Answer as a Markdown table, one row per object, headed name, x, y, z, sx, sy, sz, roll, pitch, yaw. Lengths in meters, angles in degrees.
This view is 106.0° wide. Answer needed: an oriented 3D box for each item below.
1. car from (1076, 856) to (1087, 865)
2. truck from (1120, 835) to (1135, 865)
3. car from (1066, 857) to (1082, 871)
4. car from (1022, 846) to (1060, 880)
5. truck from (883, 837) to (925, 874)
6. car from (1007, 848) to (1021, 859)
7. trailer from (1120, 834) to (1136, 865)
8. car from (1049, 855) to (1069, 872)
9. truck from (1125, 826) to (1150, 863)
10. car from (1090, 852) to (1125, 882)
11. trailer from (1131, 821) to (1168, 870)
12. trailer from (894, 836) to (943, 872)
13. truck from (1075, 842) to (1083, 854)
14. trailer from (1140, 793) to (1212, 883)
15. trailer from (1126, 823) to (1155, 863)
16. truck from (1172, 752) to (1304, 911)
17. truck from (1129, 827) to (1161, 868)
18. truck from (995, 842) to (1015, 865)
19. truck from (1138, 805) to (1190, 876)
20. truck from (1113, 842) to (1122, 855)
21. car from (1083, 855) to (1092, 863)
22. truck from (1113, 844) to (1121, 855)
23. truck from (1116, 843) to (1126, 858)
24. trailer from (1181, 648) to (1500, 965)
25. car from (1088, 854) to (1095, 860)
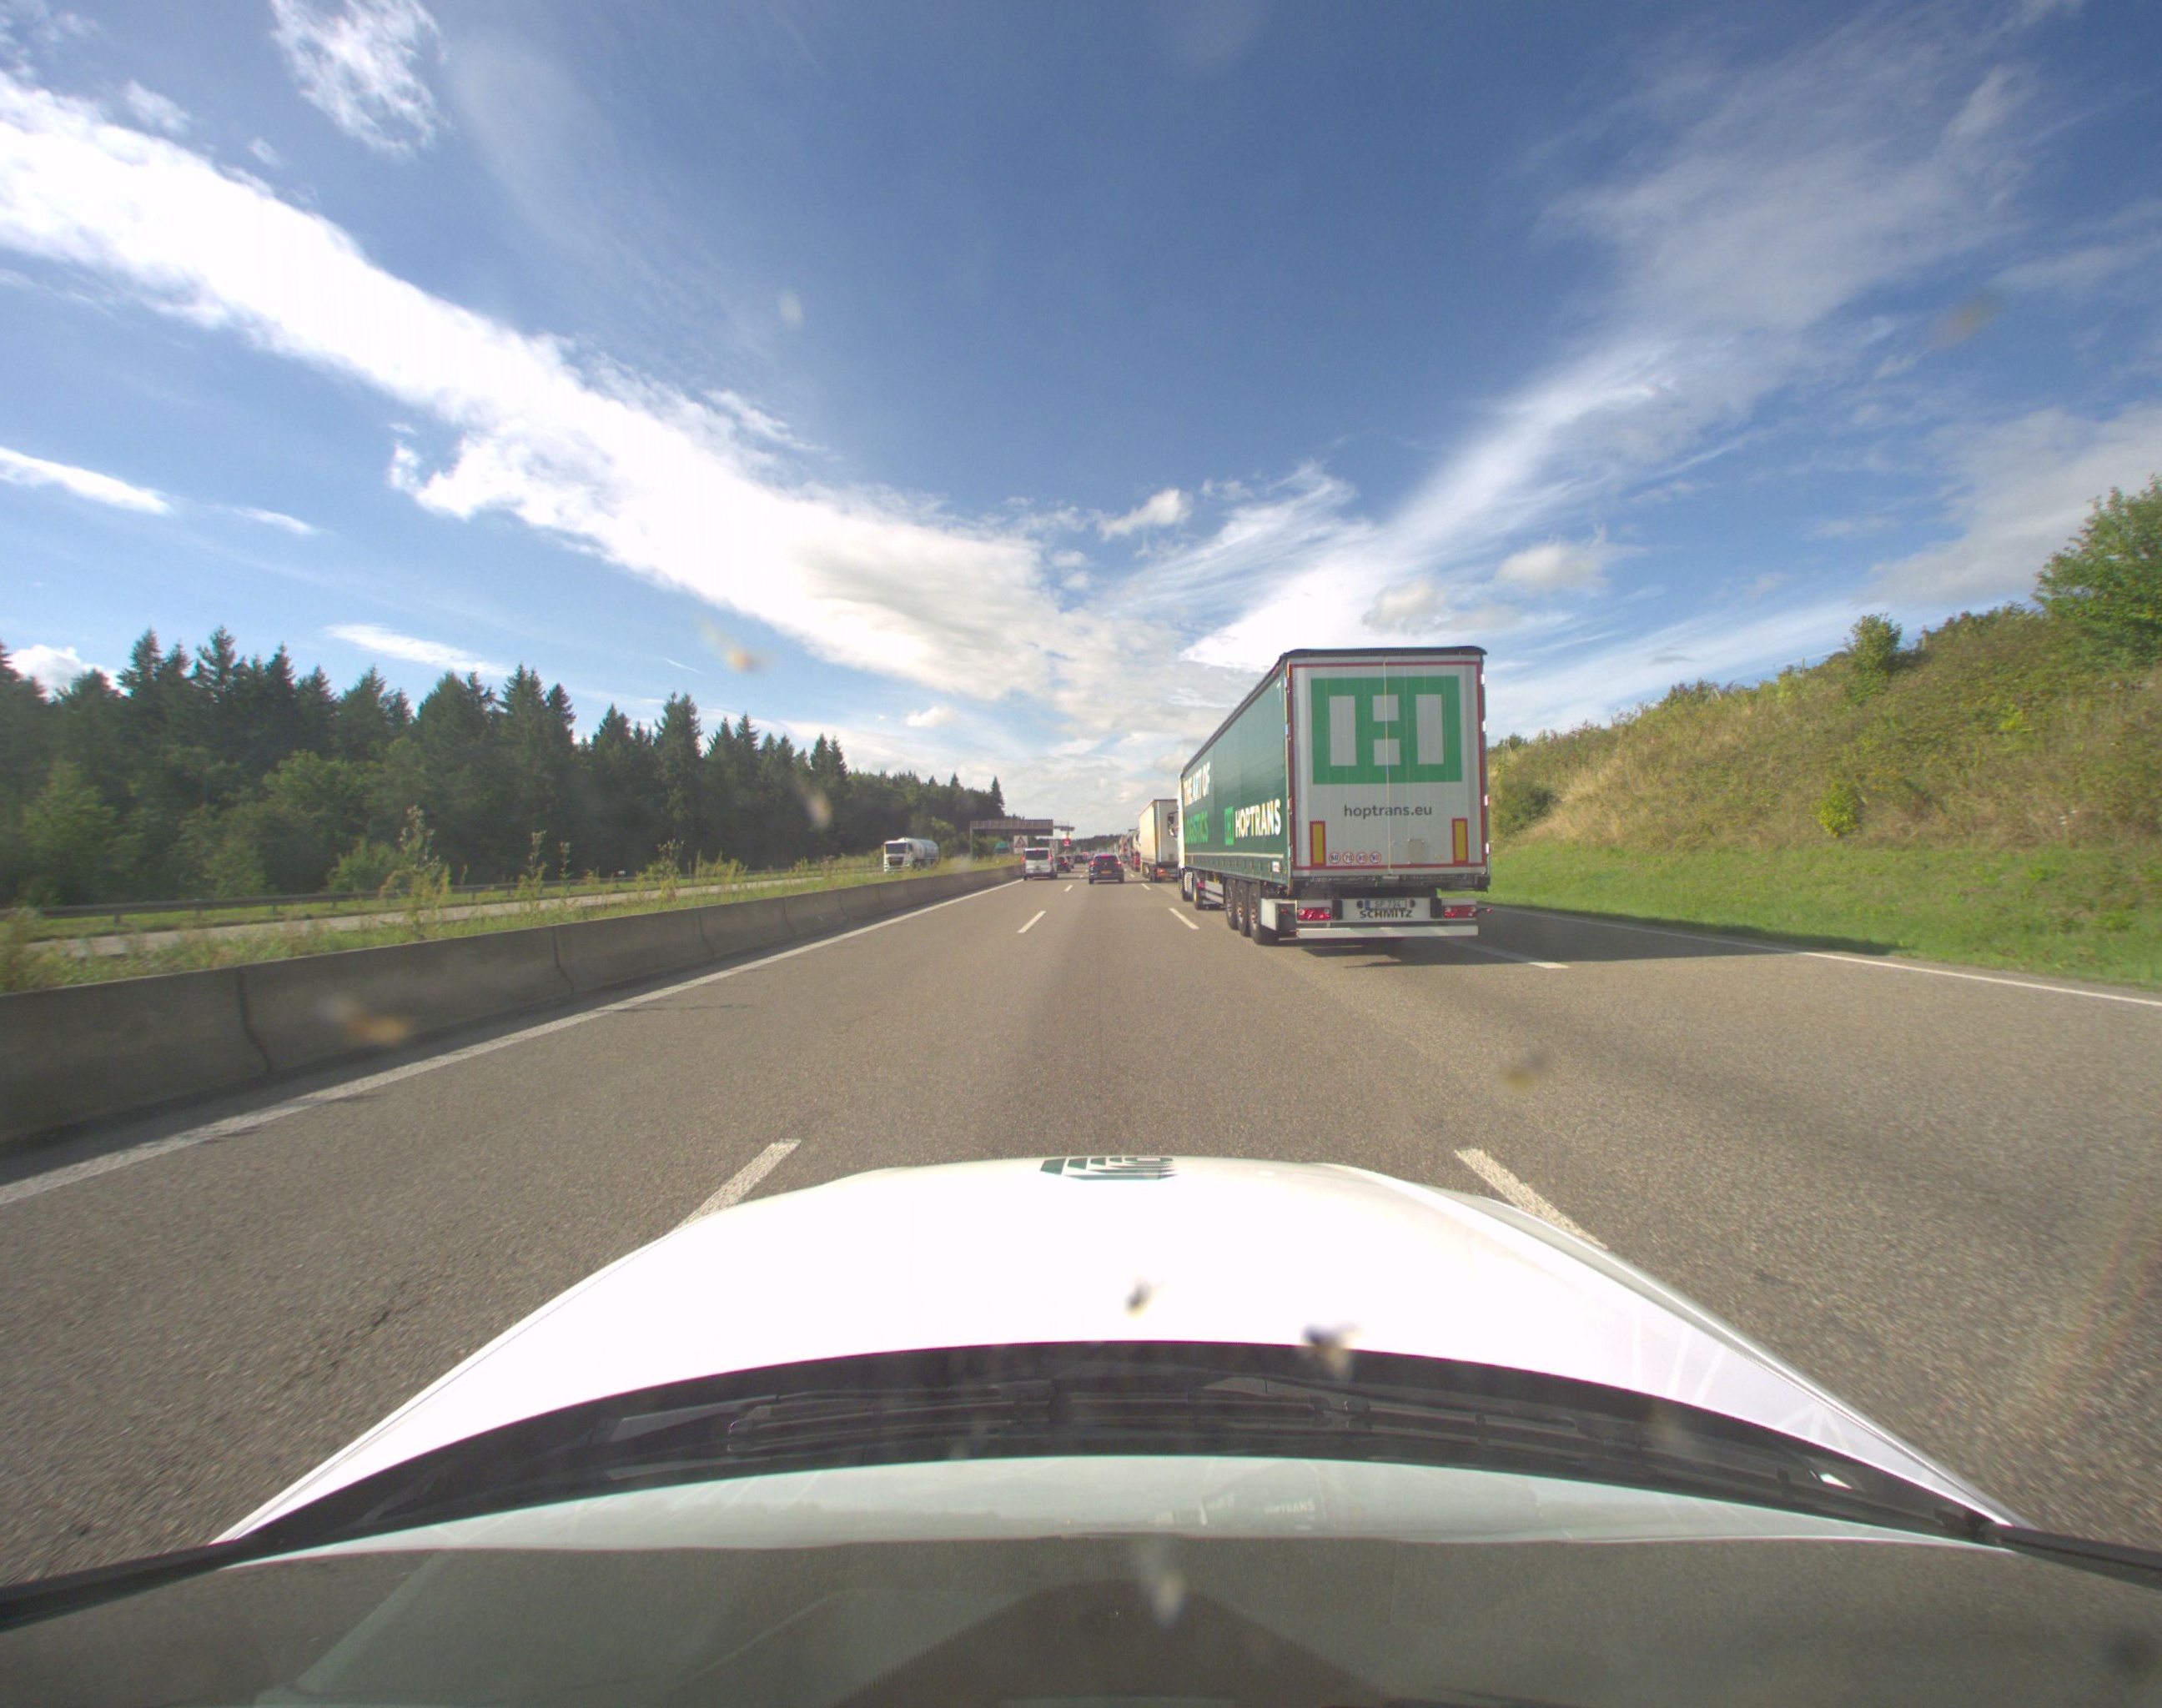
| name | x | y | z | sx | sy | sz | roll | pitch | yaw |
| --- | --- | --- | --- | --- | --- | --- | --- | --- | --- |
| car | 0.083 | 0.948 | 121.476 | 1.429 | 1.310 | 3.534 | 2 | 0 | 1 |
| truck | 6.930 | -0.580 | 122.579 | 2.125 | 4.282 | 6.342 | -1 | 0 | 2 |
| car | -0.714 | 1.037 | 86.749 | 1.494 | 1.396 | 3.477 | 2 | 0 | 2 |
| car | -2.479 | 0.565 | 51.687 | 1.925 | 1.979 | 5.100 | 2 | 0 | 2 |
| truck | -16.449 | 0.112 | 76.159 | 2.308 | 3.273 | 6.108 | -1 | 0 | 2 |
| car | -11.176 | -0.063 | 135.431 | 1.753 | 1.882 | 4.002 | 2 | 0 | 2 |
| trailer | 6.702 | -0.638 | 117.314 | 2.141 | 4.259 | 8.445 | -1 | 0 | 2 |
| car | -1.860 | 0.768 | 68.549 | 1.494 | 1.396 | 3.477 | 0 | 0 | 2 |
| truck | 6.869 | -1.126 | 98.917 | 2.774 | 4.247 | 6.464 | -2 | 0 | 3 |
| car | 1.374 | 0.667 | 42.278 | 1.690 | 1.483 | 4.161 | -1 | -1 | 2 |
| trailer | 5.551 | -0.640 | 67.618 | 2.531 | 3.654 | 10.631 | -1 | 0 | 2 |
| trailer | -16.207 | 0.001 | 82.237 | 2.312 | 3.284 | 10.881 | -1 | 0 | 2 |
| truck | -0.701 | -1.885 | 260.551 | 2.335 | 3.594 | 6.308 | 2 | 0 | 2 |
| trailer | 4.841 | -0.759 | 43.961 | 2.692 | 4.082 | 12.950 | -2 | 0 | 2 |
| trailer | 6.590 | -1.143 | 91.880 | 2.791 | 4.244 | 11.063 | -2 | 0 | 3 |
| truck | 4.255 | -0.528 | 23.537 | 2.637 | 3.869 | 6.999 | -1 | 0 | 2 |
| truck | 5.788 | -0.557 | 74.298 | 2.524 | 3.584 | 6.732 | -1 | 0 | 2 |
| truck | -14.668 | -0.014 | 158.243 | 2.701 | 4.244 | 10.346 | -1 | 0 | 1 |
| truck | 5.076 | -0.766 | 50.941 | 2.698 | 4.059 | 6.364 | -2 | 0 | 2 |
| truck | 8.755 | -1.350 | 194.701 | 1.986 | 3.052 | 4.984 | 2 | 0 | 2 |
| car | 1.176 | 0.790 | 138.719 | 1.429 | 1.310 | 3.534 | 2 | 0 | 1 |
| truck | 10.529 | -1.293 | 238.597 | 1.986 | 3.052 | 4.984 | 2 | 0 | 2 |
| truck | 8.253 | -0.726 | 167.571 | 1.986 | 2.932 | 4.984 | 2 | 0 | 2 |
| trailer | 4.024 | -0.552 | 16.754 | 2.651 | 3.869 | 13.400 | -1 | 0 | 2 |
| car | 2.338 | 0.688 | 180.786 | 1.356 | 1.301 | 3.085 | 2 | 0 | 2 |
